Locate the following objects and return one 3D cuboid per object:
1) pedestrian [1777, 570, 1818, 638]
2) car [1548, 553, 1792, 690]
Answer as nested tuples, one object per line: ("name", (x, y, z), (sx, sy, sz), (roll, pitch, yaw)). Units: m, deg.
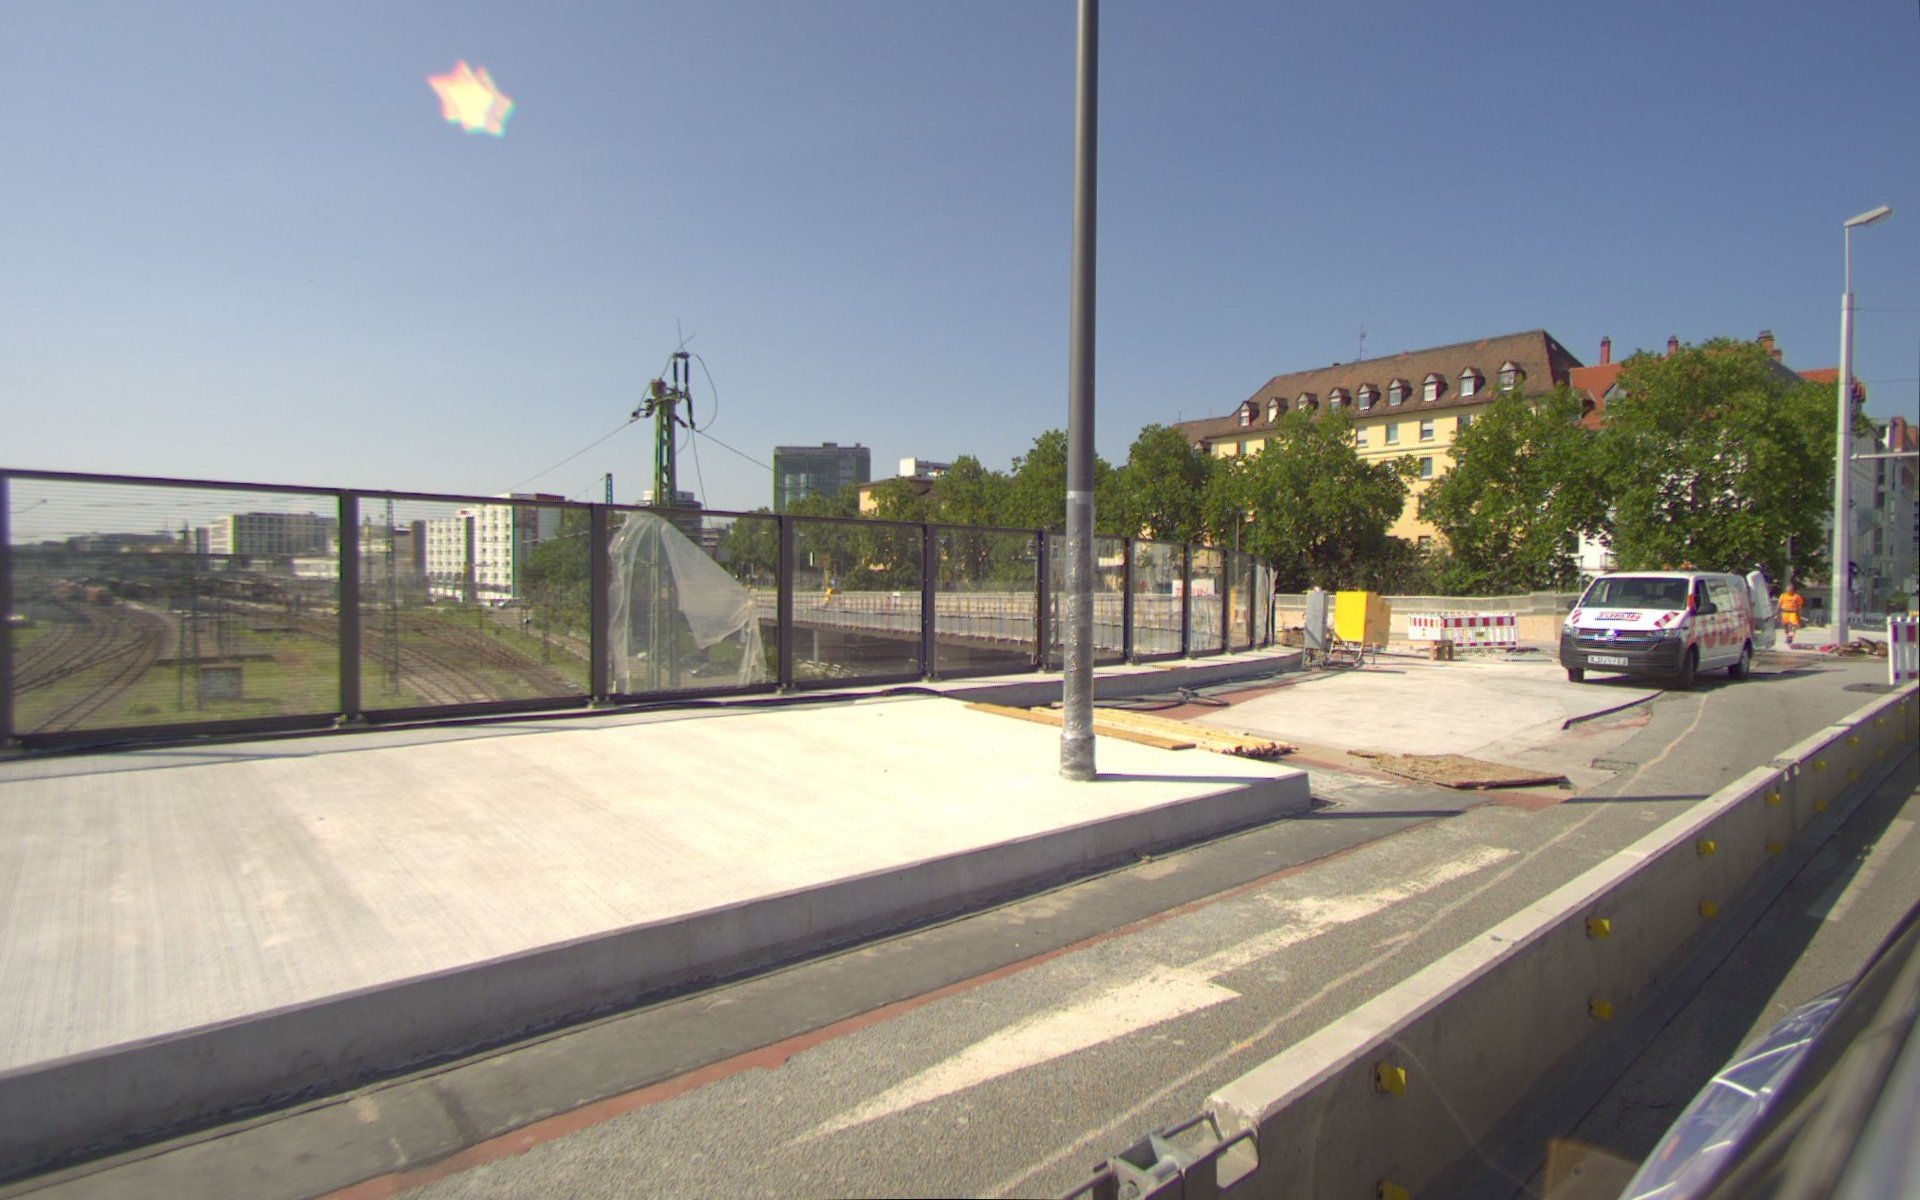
("pedestrian", (25.456, 0.110, 30.750), (0.828, 2.009, 0.761), (-1, 3, -40))
("car", (13.029, 0.243, 18.372), (6.354, 2.116, 1.938), (-2, 2, -39))
